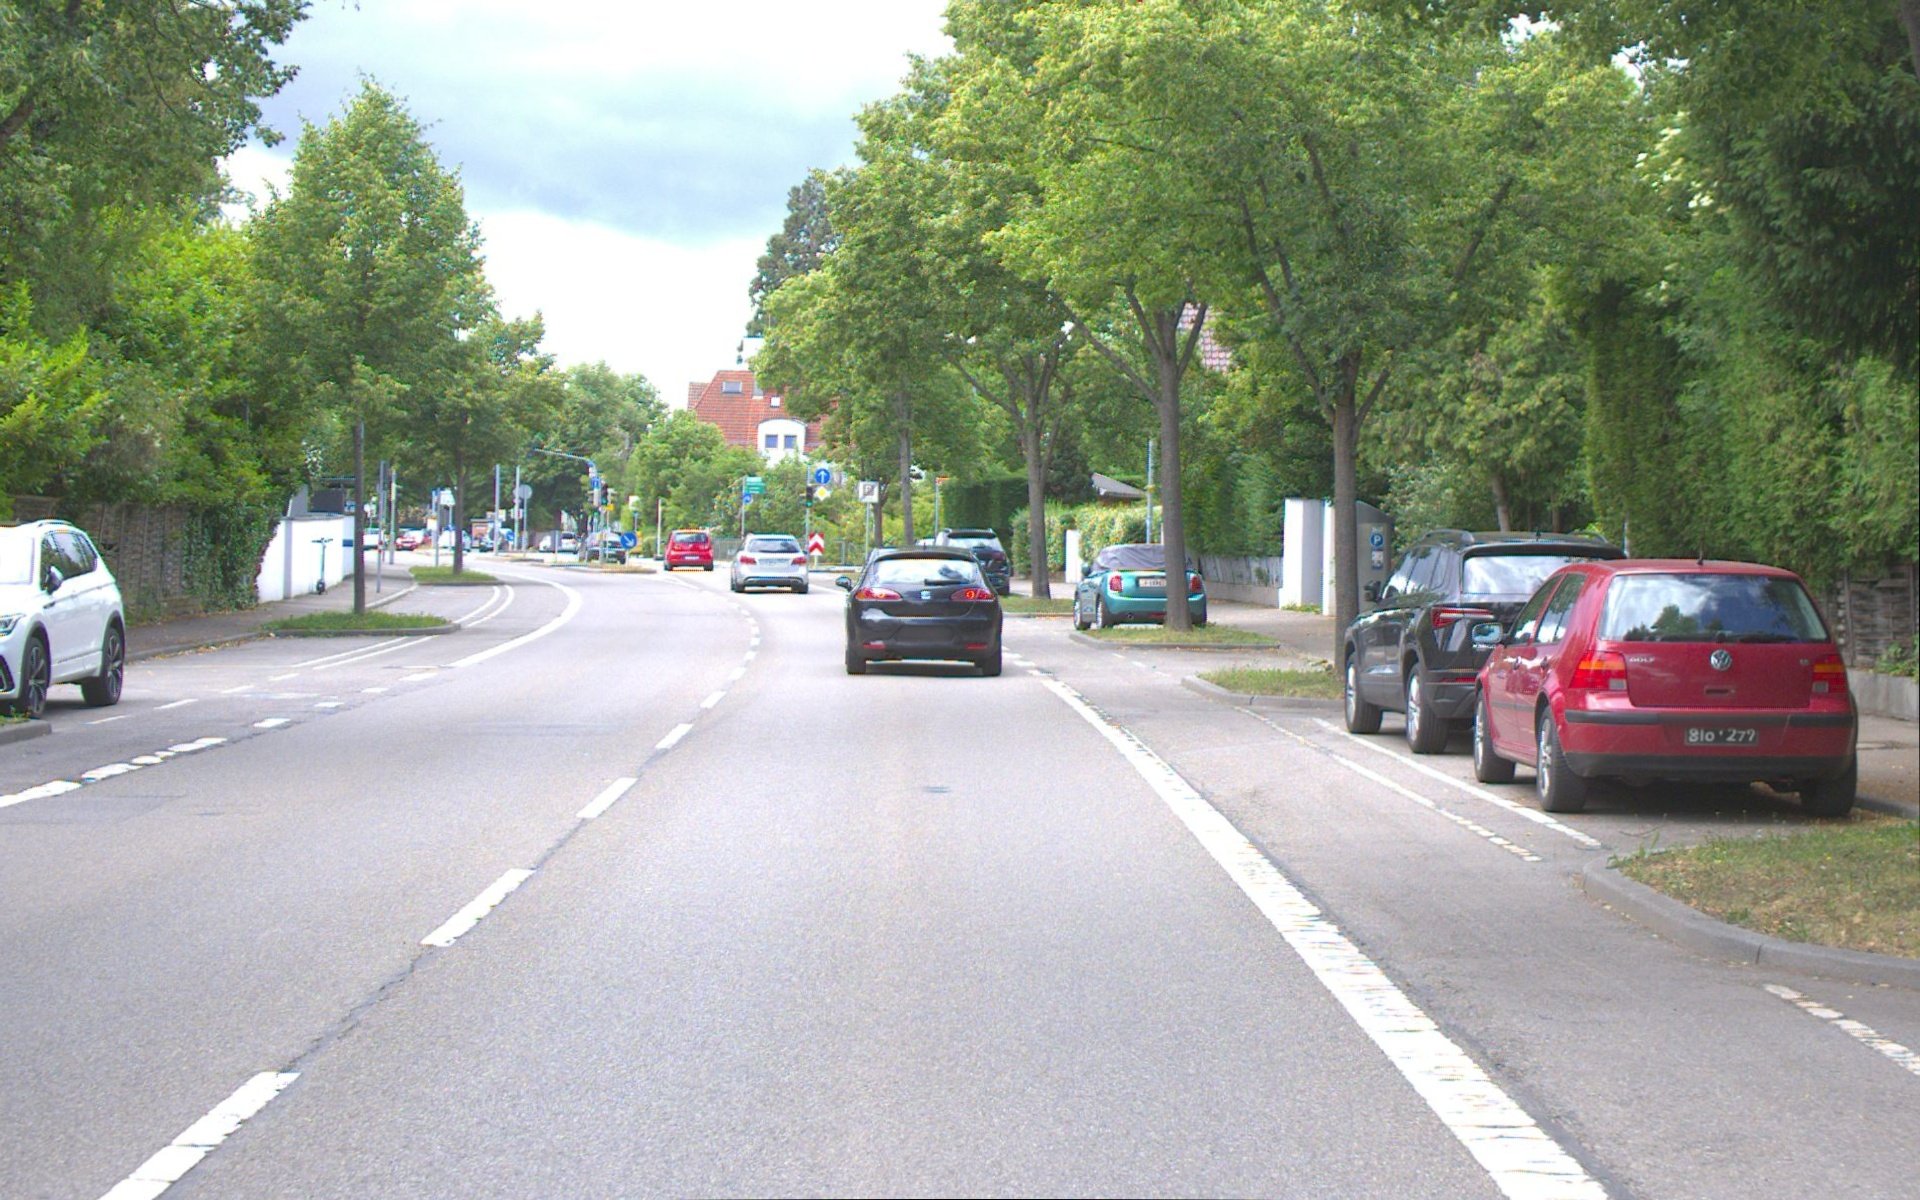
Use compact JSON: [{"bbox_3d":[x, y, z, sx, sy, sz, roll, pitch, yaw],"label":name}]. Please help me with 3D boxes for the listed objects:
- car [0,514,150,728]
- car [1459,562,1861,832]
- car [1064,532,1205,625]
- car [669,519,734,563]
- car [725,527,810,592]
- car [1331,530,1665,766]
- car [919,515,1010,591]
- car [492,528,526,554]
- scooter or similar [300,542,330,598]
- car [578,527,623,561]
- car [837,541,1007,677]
[{"bbox_3d":[-8.441,0.113,29.508,1.873,1.682,4.866,0,1,-1],"label":"car"},{"bbox_3d":[4.051,0.499,20.480,1.638,1.415,4.000,0,1,1],"label":"car"},{"bbox_3d":[2.776,-0.371,55.480,1.683,1.427,4.045,1,1,-6],"label":"car"},{"bbox_3d":[-9.218,-2.104,122.346,1.993,1.525,4.001,1,1,-9],"label":"car"},{"bbox_3d":[-4.914,-1.014,87.421,1.993,1.552,4.000,0,-1,-6],"label":"car"},{"bbox_3d":[3.963,0.299,25.956,1.638,1.610,4.170,1,1,-3],"label":"car"},{"bbox_3d":[0.079,-1.141,82.977,1.788,1.765,3.983,1,1,-5],"label":"car"},{"bbox_3d":[-29.835,-3.905,227.410,1.973,1.670,3.877,1,1,-4],"label":"car"},{"bbox_3d":[-13.424,-0.628,71.581,0.501,1.150,1.301,1,1,-6],"label":"scooter or similar"},{"bbox_3d":[-16.452,-2.552,157.530,1.993,1.503,4.001,1,0,-5],"label":"car"},{"bbox_3d":[-0.477,0.072,38.936,1.783,1.444,3.558,1,1,-3],"label":"car"}]
